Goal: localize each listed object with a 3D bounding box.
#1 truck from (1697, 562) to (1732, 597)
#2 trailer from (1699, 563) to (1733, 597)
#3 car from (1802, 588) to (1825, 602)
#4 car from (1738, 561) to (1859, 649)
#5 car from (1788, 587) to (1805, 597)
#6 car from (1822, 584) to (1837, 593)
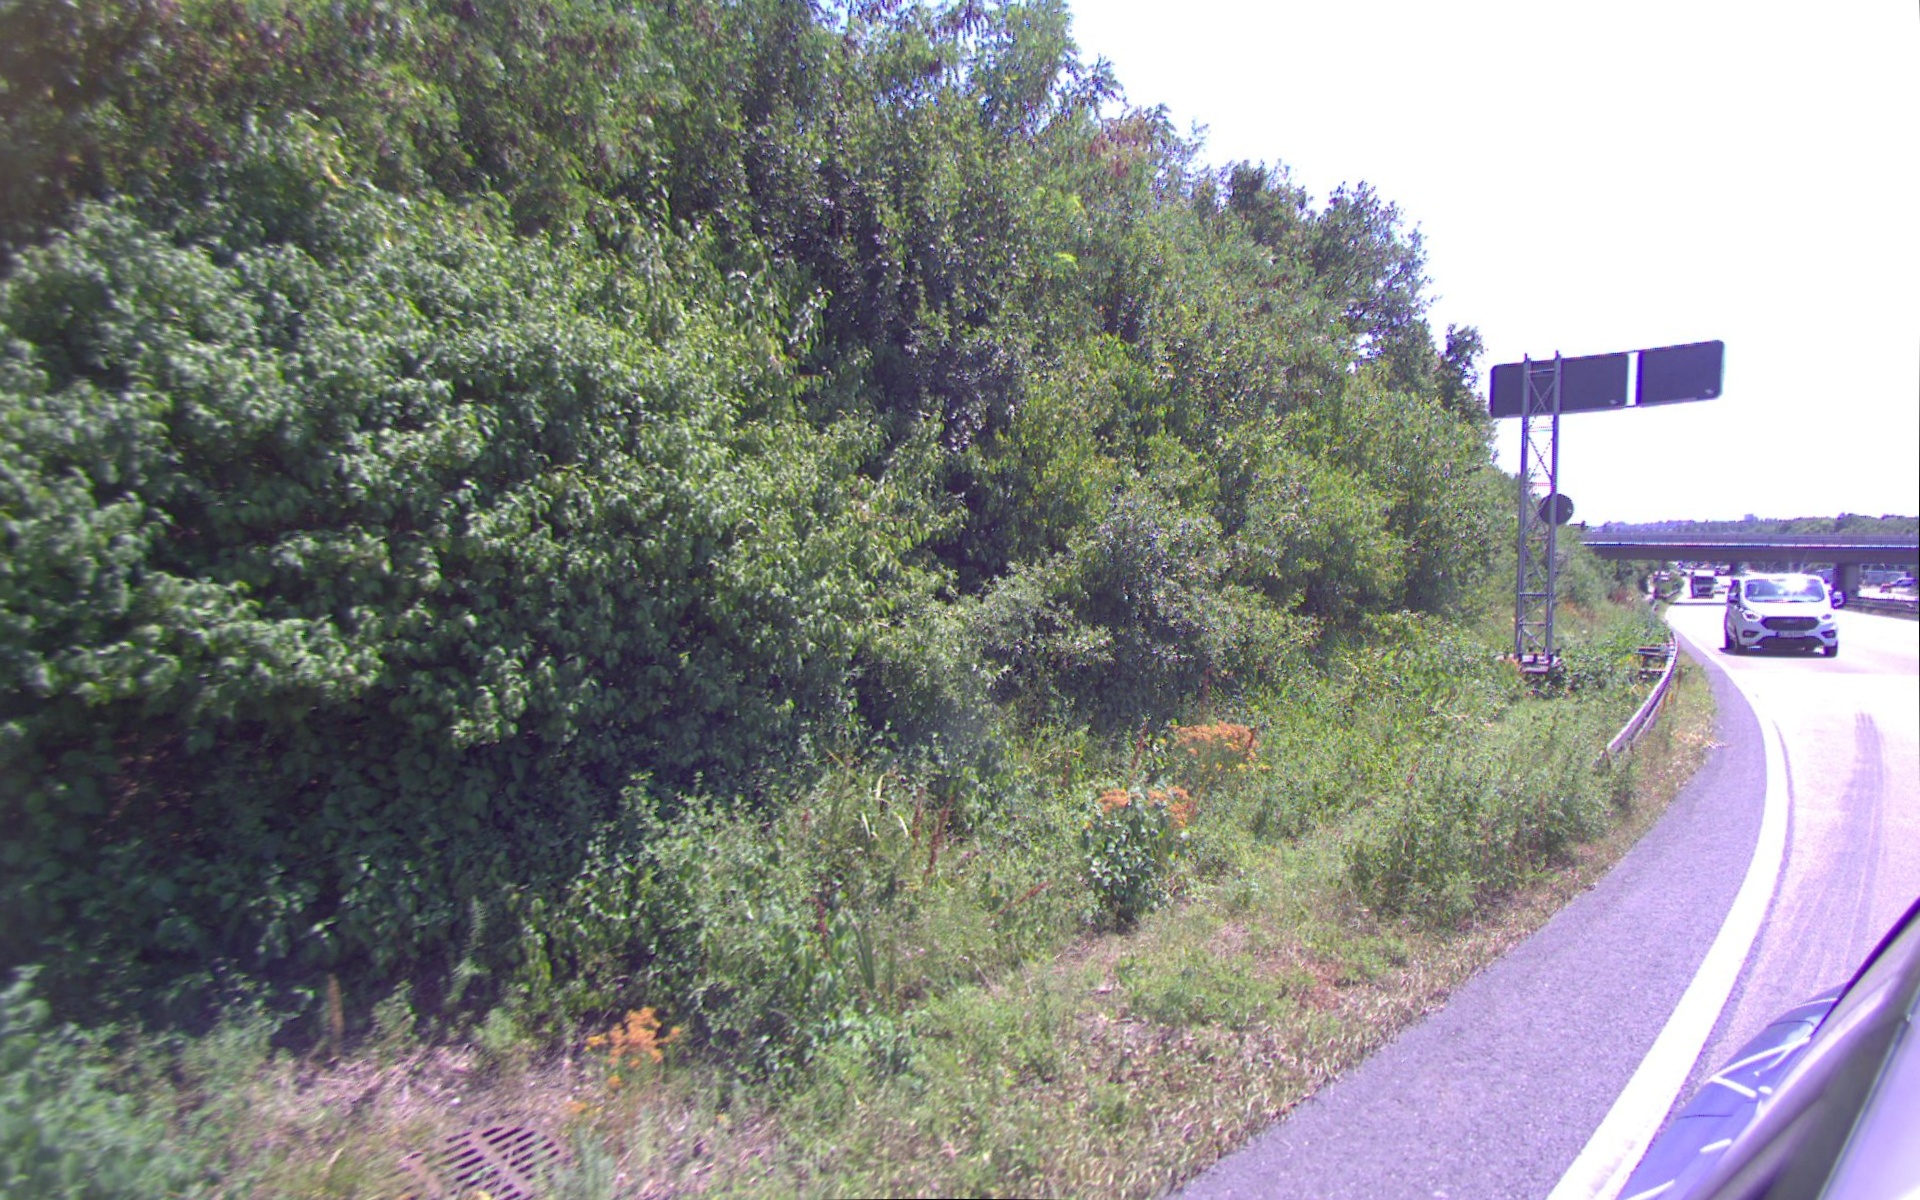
[{"bbox_3d":[111.402,-2.982,149.342,3.967,5.014,6.144,1,1,38],"label":"truck"},{"bbox_3d":[116.226,-3.035,155.508,3.951,5.014,15.783,1,1,38],"label":"trailer"},{"bbox_3d":[106.107,-0.604,125.862,1.990,1.652,4.410,1,1,39],"label":"car"},{"bbox_3d":[21.451,0.093,26.078,2.051,2.039,4.976,0,0,36],"label":"car"},{"bbox_3d":[134.987,-1.324,163.270,1.990,1.652,4.410,1,1,39],"label":"car"},{"bbox_3d":[163.457,-2.238,190.290,1.990,1.652,4.409,1,1,39],"label":"car"}]
